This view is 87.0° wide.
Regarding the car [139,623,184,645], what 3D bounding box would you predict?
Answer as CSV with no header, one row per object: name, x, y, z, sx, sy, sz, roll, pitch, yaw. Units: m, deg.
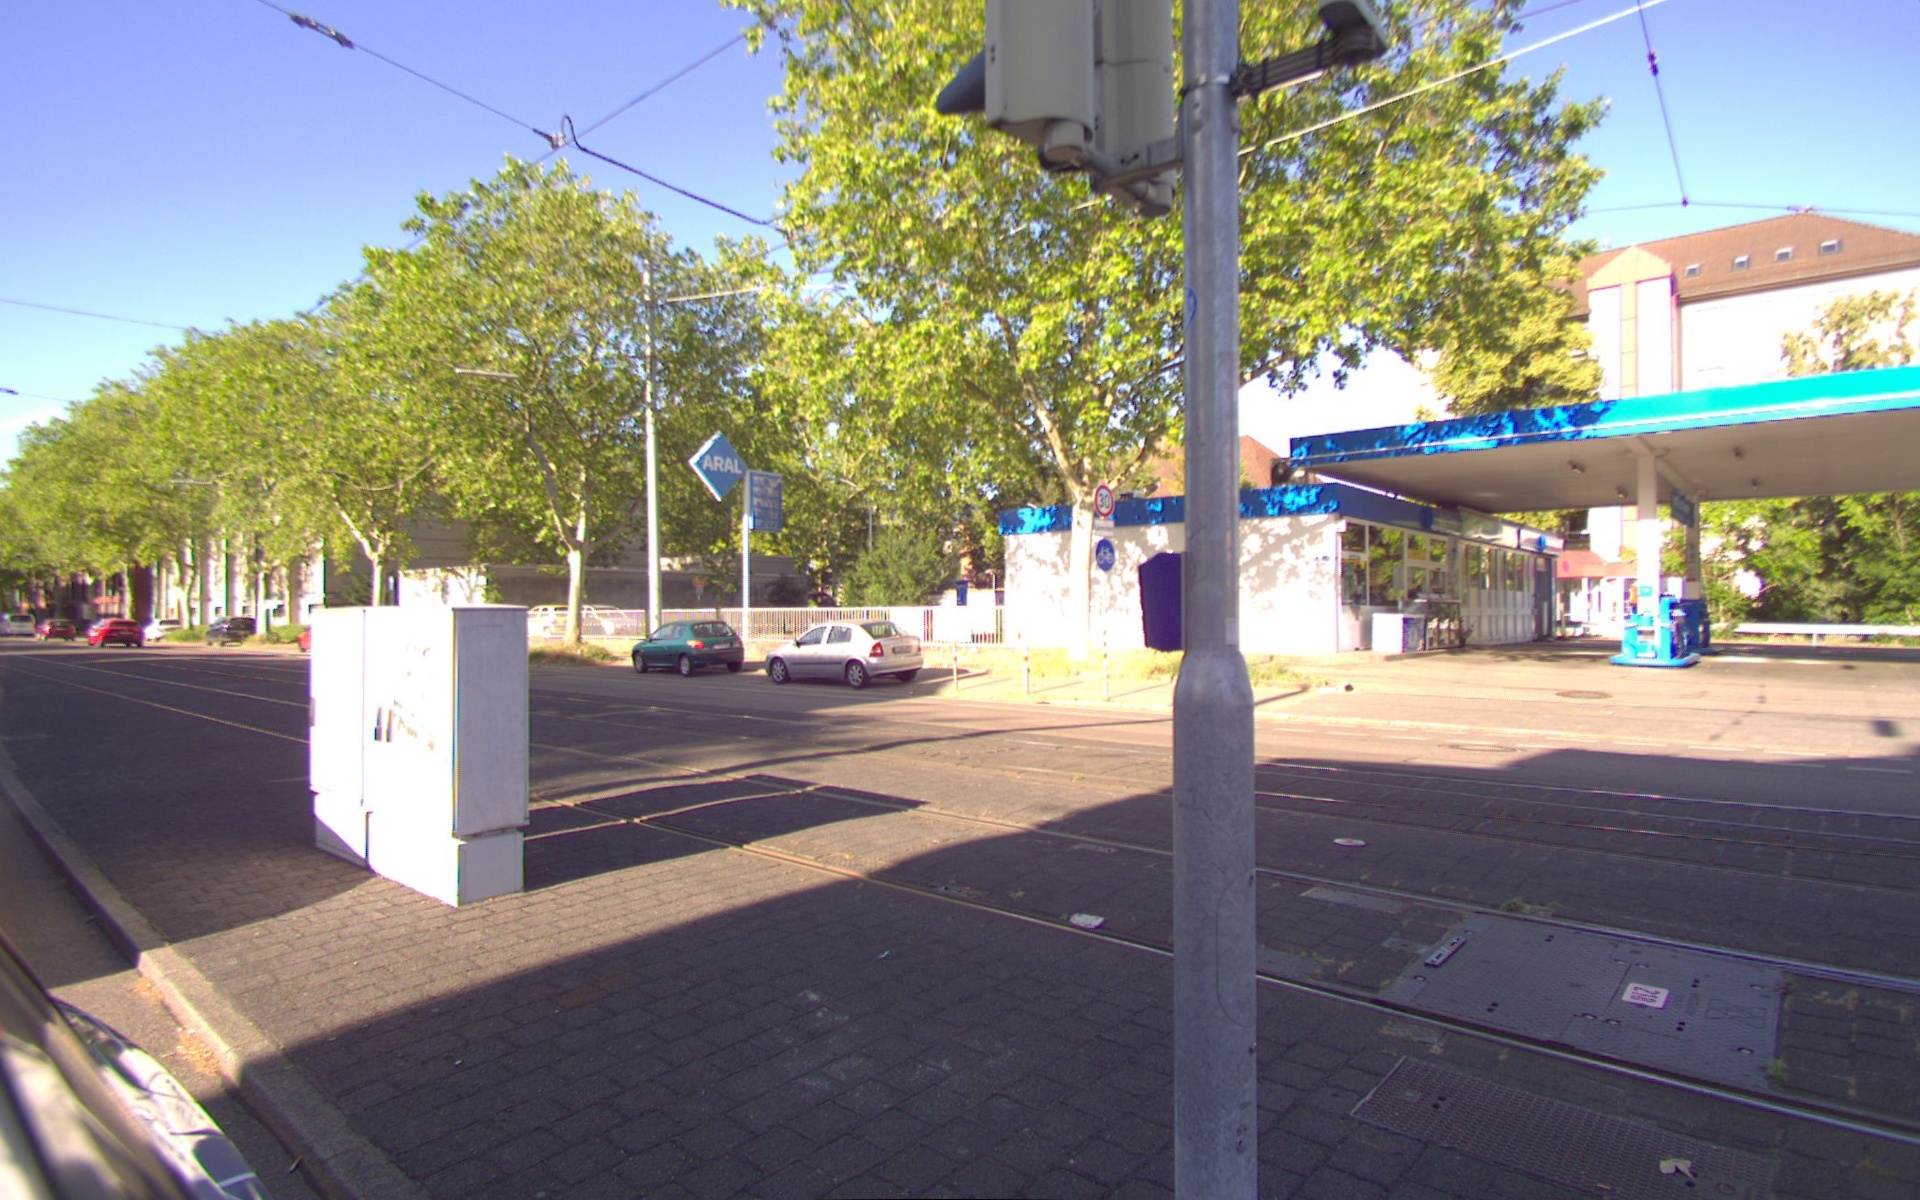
car,-53.809,2.293,68.193,3.998,1.420,1.678,-1,-2,41

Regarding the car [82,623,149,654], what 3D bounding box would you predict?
car,-44.485,1.990,53.254,4.761,1.534,1.887,-1,-2,40

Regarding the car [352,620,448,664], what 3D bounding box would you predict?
car,-22.175,1.612,40.014,4.431,1.534,1.731,-1,3,40

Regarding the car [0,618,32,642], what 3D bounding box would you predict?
car,-77.218,2.427,82.415,4.390,1.860,1.827,-1,-2,39

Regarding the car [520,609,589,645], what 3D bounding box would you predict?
car,-16.821,1.099,41.961,3.151,1.431,1.525,-1,0,44

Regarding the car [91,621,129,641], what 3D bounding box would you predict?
car,-66.811,2.416,79.540,3.998,1.569,1.678,-1,-2,41

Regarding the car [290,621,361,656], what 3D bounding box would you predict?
car,-29.027,1.719,46.266,3.998,1.479,1.678,0,-1,41

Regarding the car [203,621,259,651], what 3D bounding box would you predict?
car,-40.733,1.983,56.529,3.998,1.587,1.678,-1,-2,41

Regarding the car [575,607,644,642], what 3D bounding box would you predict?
car,-15.008,1.025,43.285,3.151,1.431,1.525,-1,0,44

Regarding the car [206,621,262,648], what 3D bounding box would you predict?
car,-40.598,1.890,56.570,3.998,1.420,1.678,-1,-2,41

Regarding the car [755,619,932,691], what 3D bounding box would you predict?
car,-2.663,1.155,22.642,3.998,1.431,1.709,-1,0,41

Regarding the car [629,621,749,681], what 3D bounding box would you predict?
car,-7.209,1.304,26.818,3.253,1.431,1.526,-1,0,41

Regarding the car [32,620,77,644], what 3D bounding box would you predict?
car,-61.237,2.177,68.459,3.998,1.431,1.678,-1,-6,41
